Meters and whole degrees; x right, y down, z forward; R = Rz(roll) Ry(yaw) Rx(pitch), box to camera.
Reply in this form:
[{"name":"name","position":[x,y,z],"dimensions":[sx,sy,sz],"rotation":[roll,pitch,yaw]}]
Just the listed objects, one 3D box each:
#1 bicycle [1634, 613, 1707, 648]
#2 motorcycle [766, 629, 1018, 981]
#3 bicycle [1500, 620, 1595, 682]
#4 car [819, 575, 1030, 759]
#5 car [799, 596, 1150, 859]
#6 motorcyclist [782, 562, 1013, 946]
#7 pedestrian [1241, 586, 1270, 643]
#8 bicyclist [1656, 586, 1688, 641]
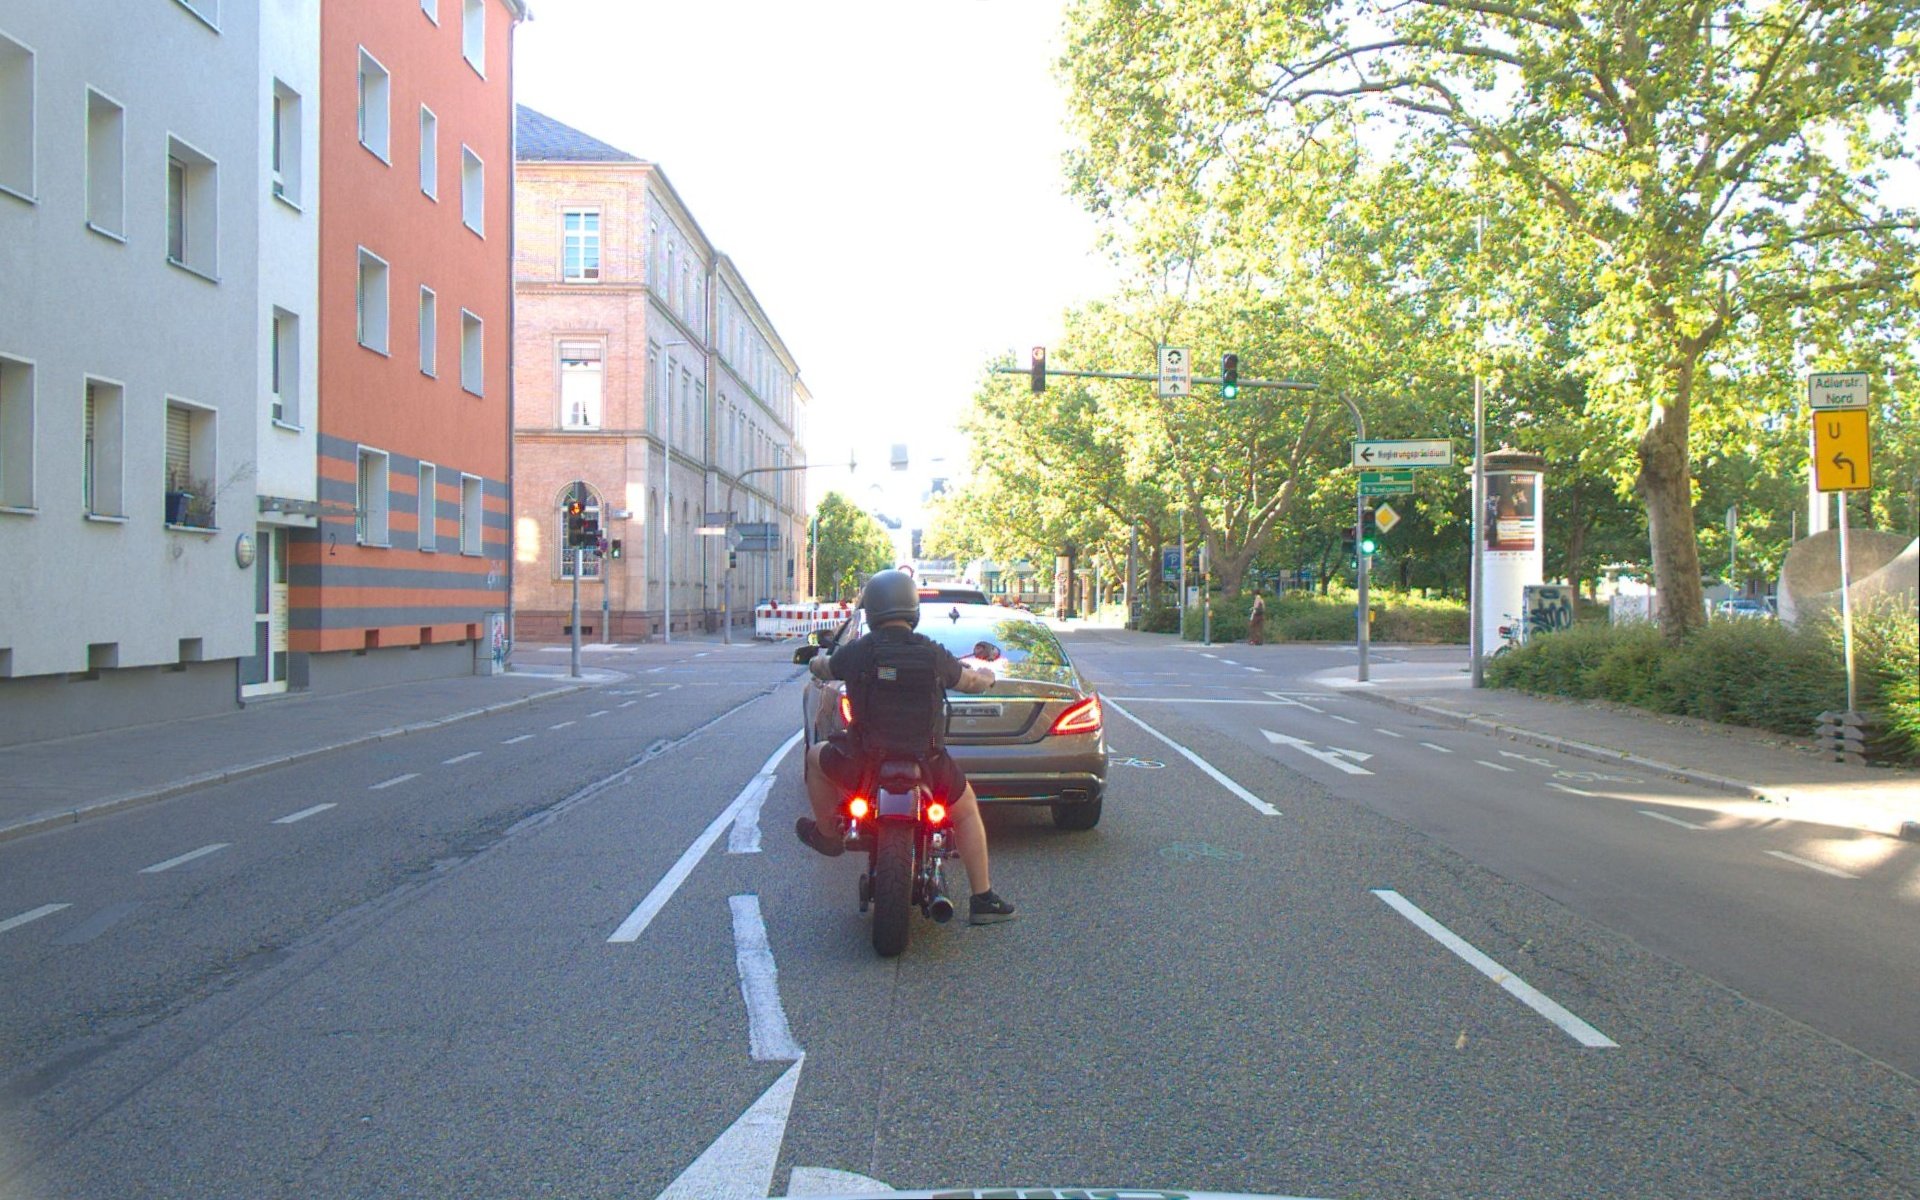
[{"name":"bicycle","position":[20.989,0.889,48.849],"dimensions":[1.877,0.997,0.602],"rotation":[1,0,5]},{"name":"motorcycle","position":[-0.277,0.808,7.547],"dimensions":[0.961,1.297,2.407],"rotation":[0,0,-1]},{"name":"bicycle","position":[9.787,0.842,27.586],"dimensions":[1.452,0.997,0.299],"rotation":[1,-1,5]},{"name":"car","position":[-0.362,0.635,17.529],"dimensions":[1.953,1.695,3.999],"rotation":[1,0,-1]},{"name":"car","position":[-0.114,0.711,11.609],"dimensions":[1.834,1.469,4.422],"rotation":[0,0,-8]},{"name":"motorcyclist","position":[-0.271,0.642,7.542],"dimensions":[0.961,1.606,1.248],"rotation":[0,0,-1]},{"name":"pedestrian","position":[9.502,0.460,53.134],"dimensions":[0.667,1.803,0.613],"rotation":[0,-1,41]},{"name":"bicyclist","position":[21.033,0.407,48.851],"dimensions":[0.715,1.610,0.597],"rotation":[1,-1,5]}]
